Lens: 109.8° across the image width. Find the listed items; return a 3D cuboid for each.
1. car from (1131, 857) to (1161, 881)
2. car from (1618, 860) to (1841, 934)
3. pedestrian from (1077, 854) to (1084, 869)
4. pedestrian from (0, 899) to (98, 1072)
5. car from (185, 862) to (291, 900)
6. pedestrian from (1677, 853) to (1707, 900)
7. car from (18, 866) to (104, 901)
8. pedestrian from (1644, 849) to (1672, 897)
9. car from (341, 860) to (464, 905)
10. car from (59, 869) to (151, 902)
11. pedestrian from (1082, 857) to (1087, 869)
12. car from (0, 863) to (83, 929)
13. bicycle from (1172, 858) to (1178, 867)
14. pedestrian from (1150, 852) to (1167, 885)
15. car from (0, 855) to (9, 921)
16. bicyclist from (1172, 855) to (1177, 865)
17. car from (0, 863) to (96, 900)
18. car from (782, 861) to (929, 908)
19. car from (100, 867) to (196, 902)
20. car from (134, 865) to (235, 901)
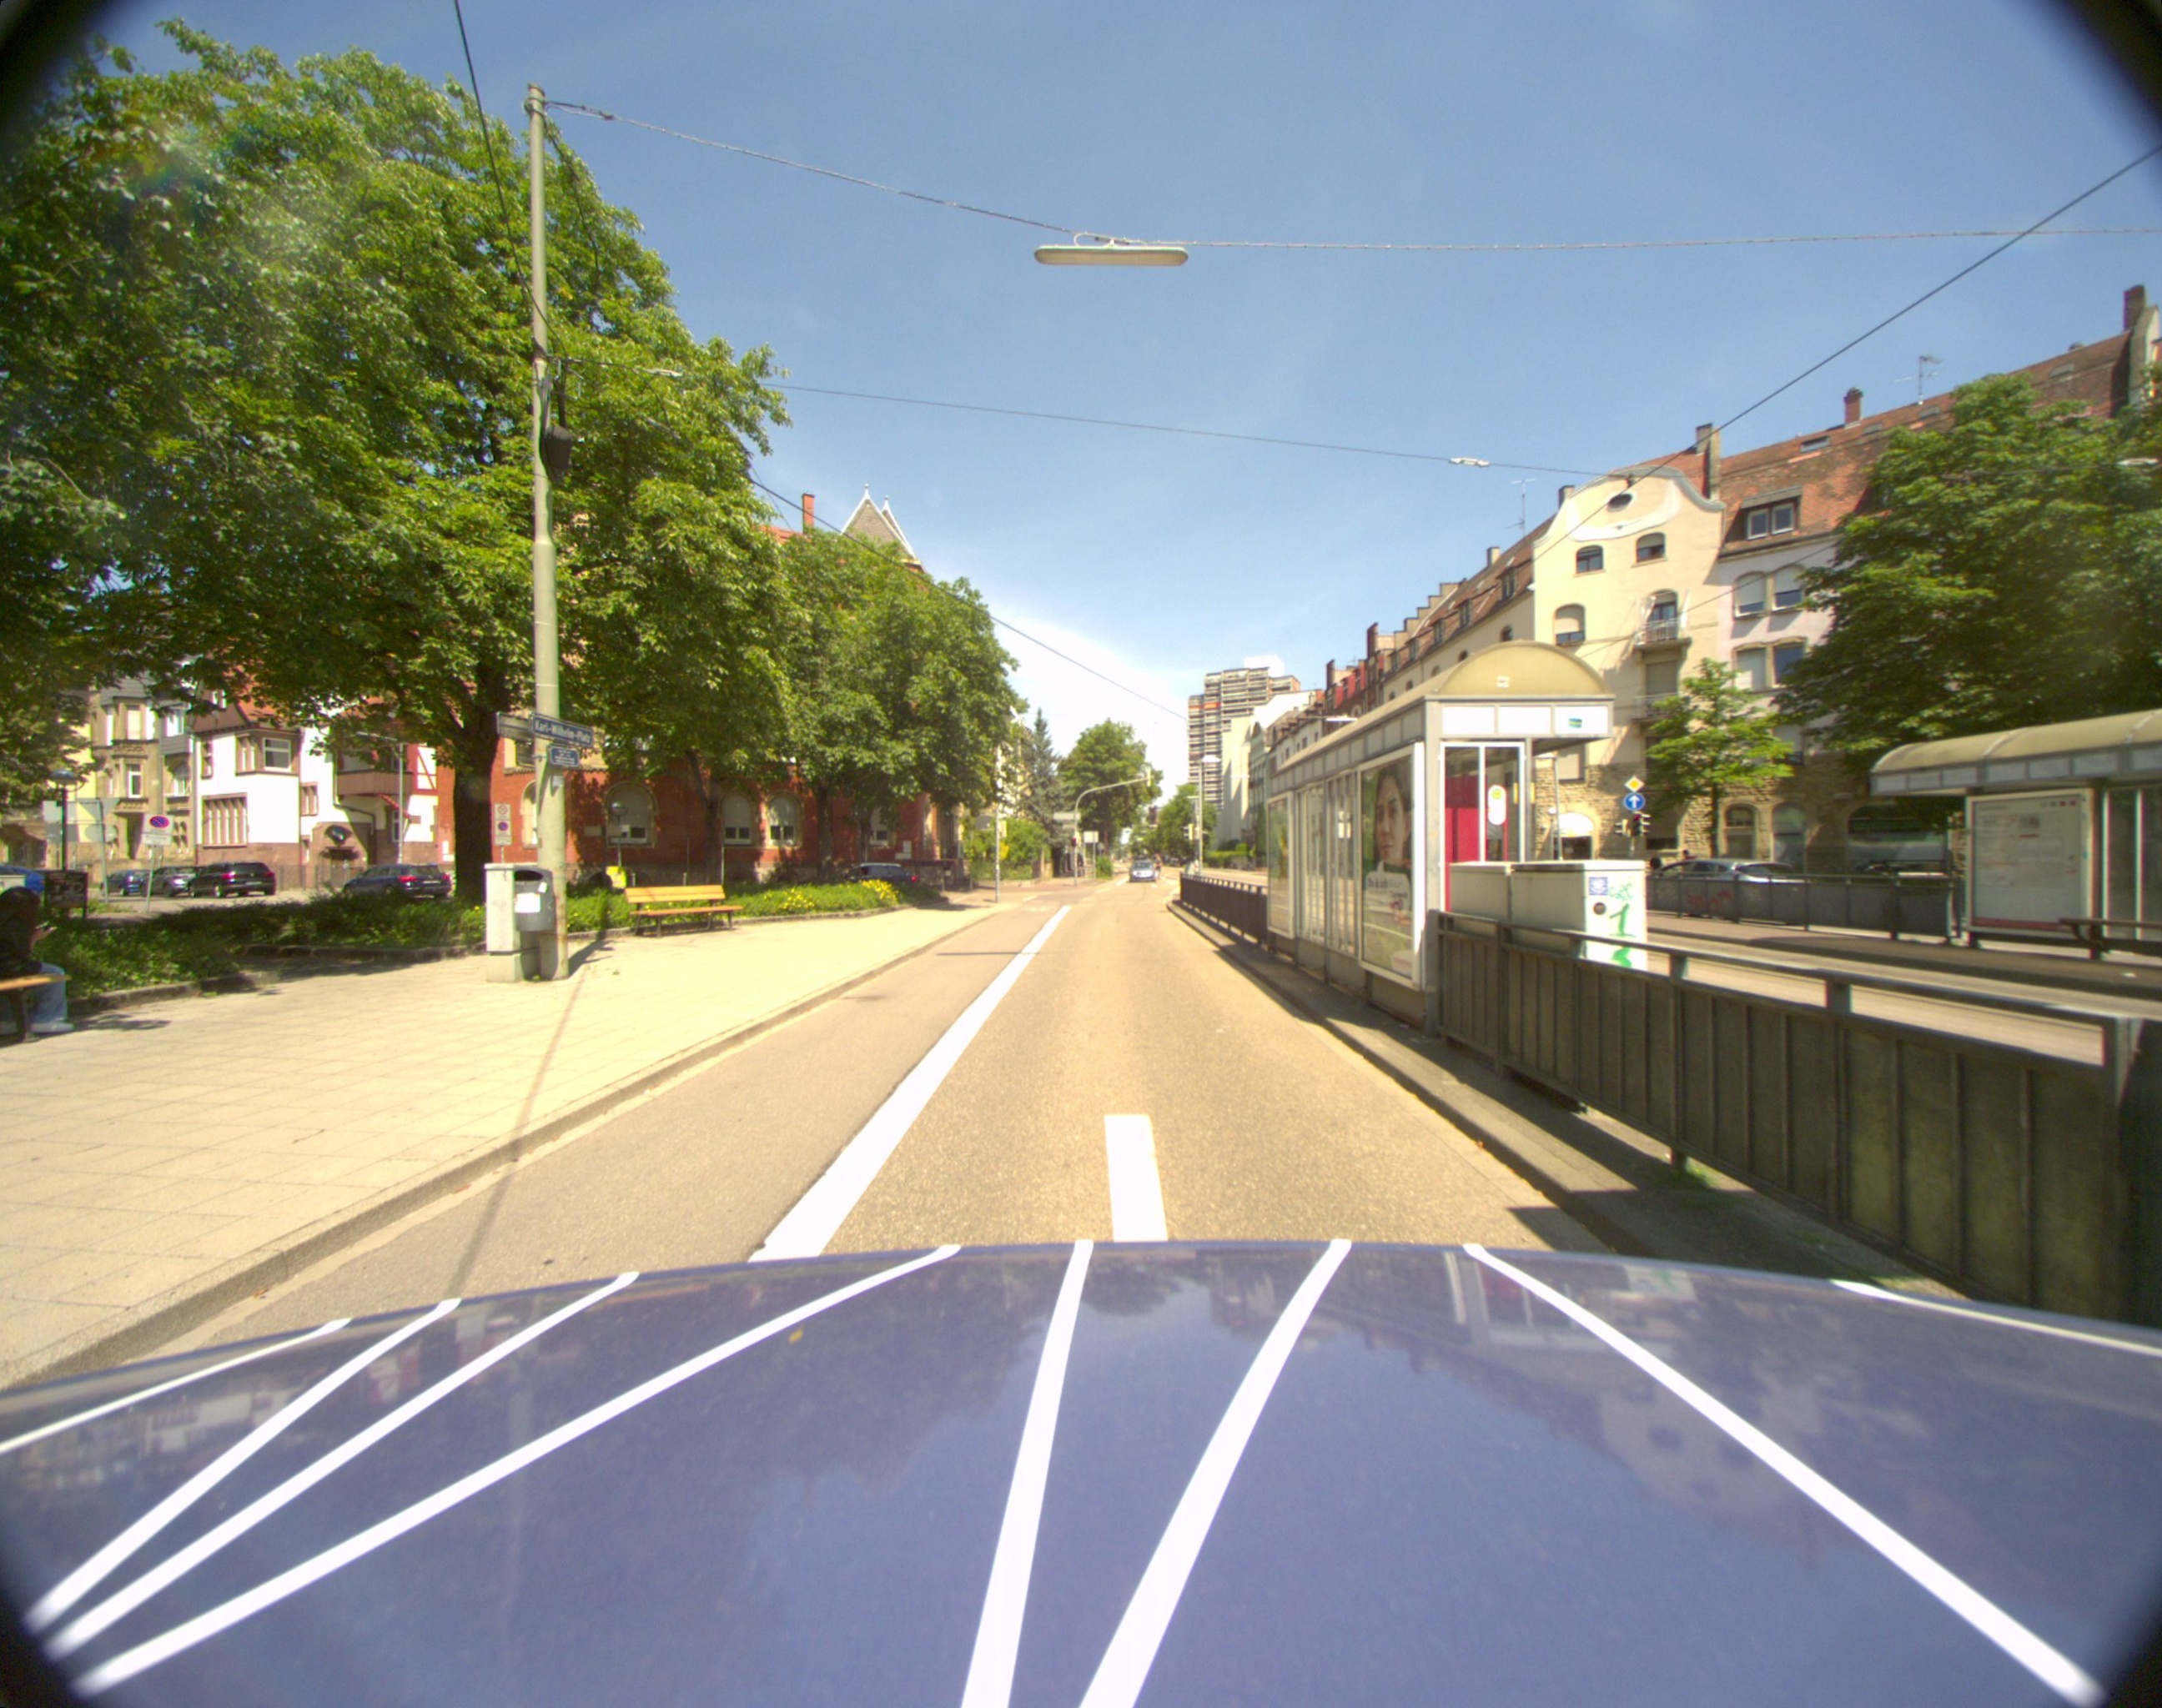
[{"bbox_3d":[4.334,0.985,50.937,1.895,1.372,4.001,-2,1,5],"label":"car"},{"bbox_3d":[14.841,0.913,17.729,1.812,1.386,3.999,-2,1,1],"label":"car"},{"bbox_3d":[-0.063,0.815,85.508,0.702,1.645,0.665,0,0,1],"label":"pedestrian"},{"bbox_3d":[-7.740,0.914,5.421,0.566,1.136,0.725,0,1,-16],"label":"pedestrian"},{"bbox_3d":[-39.586,1.281,35.670,4.299,1.608,1.941,-2,1,23],"label":"car"},{"bbox_3d":[20.392,0.751,25.359,0.594,1.542,0.474,0,0,-1],"label":"pedestrian"},{"bbox_3d":[-59.175,1.716,44.083,4.299,1.862,1.941,-2,1,23],"label":"car"},{"bbox_3d":[20.124,0.655,26.511,0.594,1.637,0.474,0,0,1],"label":"pedestrian"},{"bbox_3d":[-27.040,1.138,30.290,4.299,1.608,1.941,-2,1,23],"label":"car"},{"bbox_3d":[-53.020,1.734,41.273,4.299,1.608,1.941,-2,1,23],"label":"car"},{"bbox_3d":[0.527,1.282,110.064,0.686,1.732,0.660,-2,1,3],"label":"pedestrian"},{"bbox_3d":[-32.840,1.305,22.030,1.934,1.869,4.315,-2,1,23],"label":"car"},{"bbox_3d":[16.652,1.495,134.843,0.644,1.503,1.970,-2,1,-2],"label":"bicycle"},{"bbox_3d":[4.237,0.778,41.422,0.838,1.813,0.673,0,0,1],"label":"pedestrian"},{"bbox_3d":[-37.656,1.205,23.798,1.934,2.178,4.315,-2,1,23],"label":"car"},{"bbox_3d":[16.626,1.046,134.826,0.644,1.864,0.716,-2,1,-2],"label":"bicyclist"},{"bbox_3d":[-44.092,1.162,32.284,3.644,1.497,1.708,-1,0,21],"label":"car"},{"bbox_3d":[-8.645,1.116,29.318,5.043,1.473,1.933,-3,1,-31],"label":"car"},{"bbox_3d":[-48.419,1.578,39.438,4.299,1.608,1.941,-2,1,23],"label":"car"},{"bbox_3d":[-44.146,1.436,37.416,4.299,1.608,1.941,-2,1,23],"label":"car"}]
